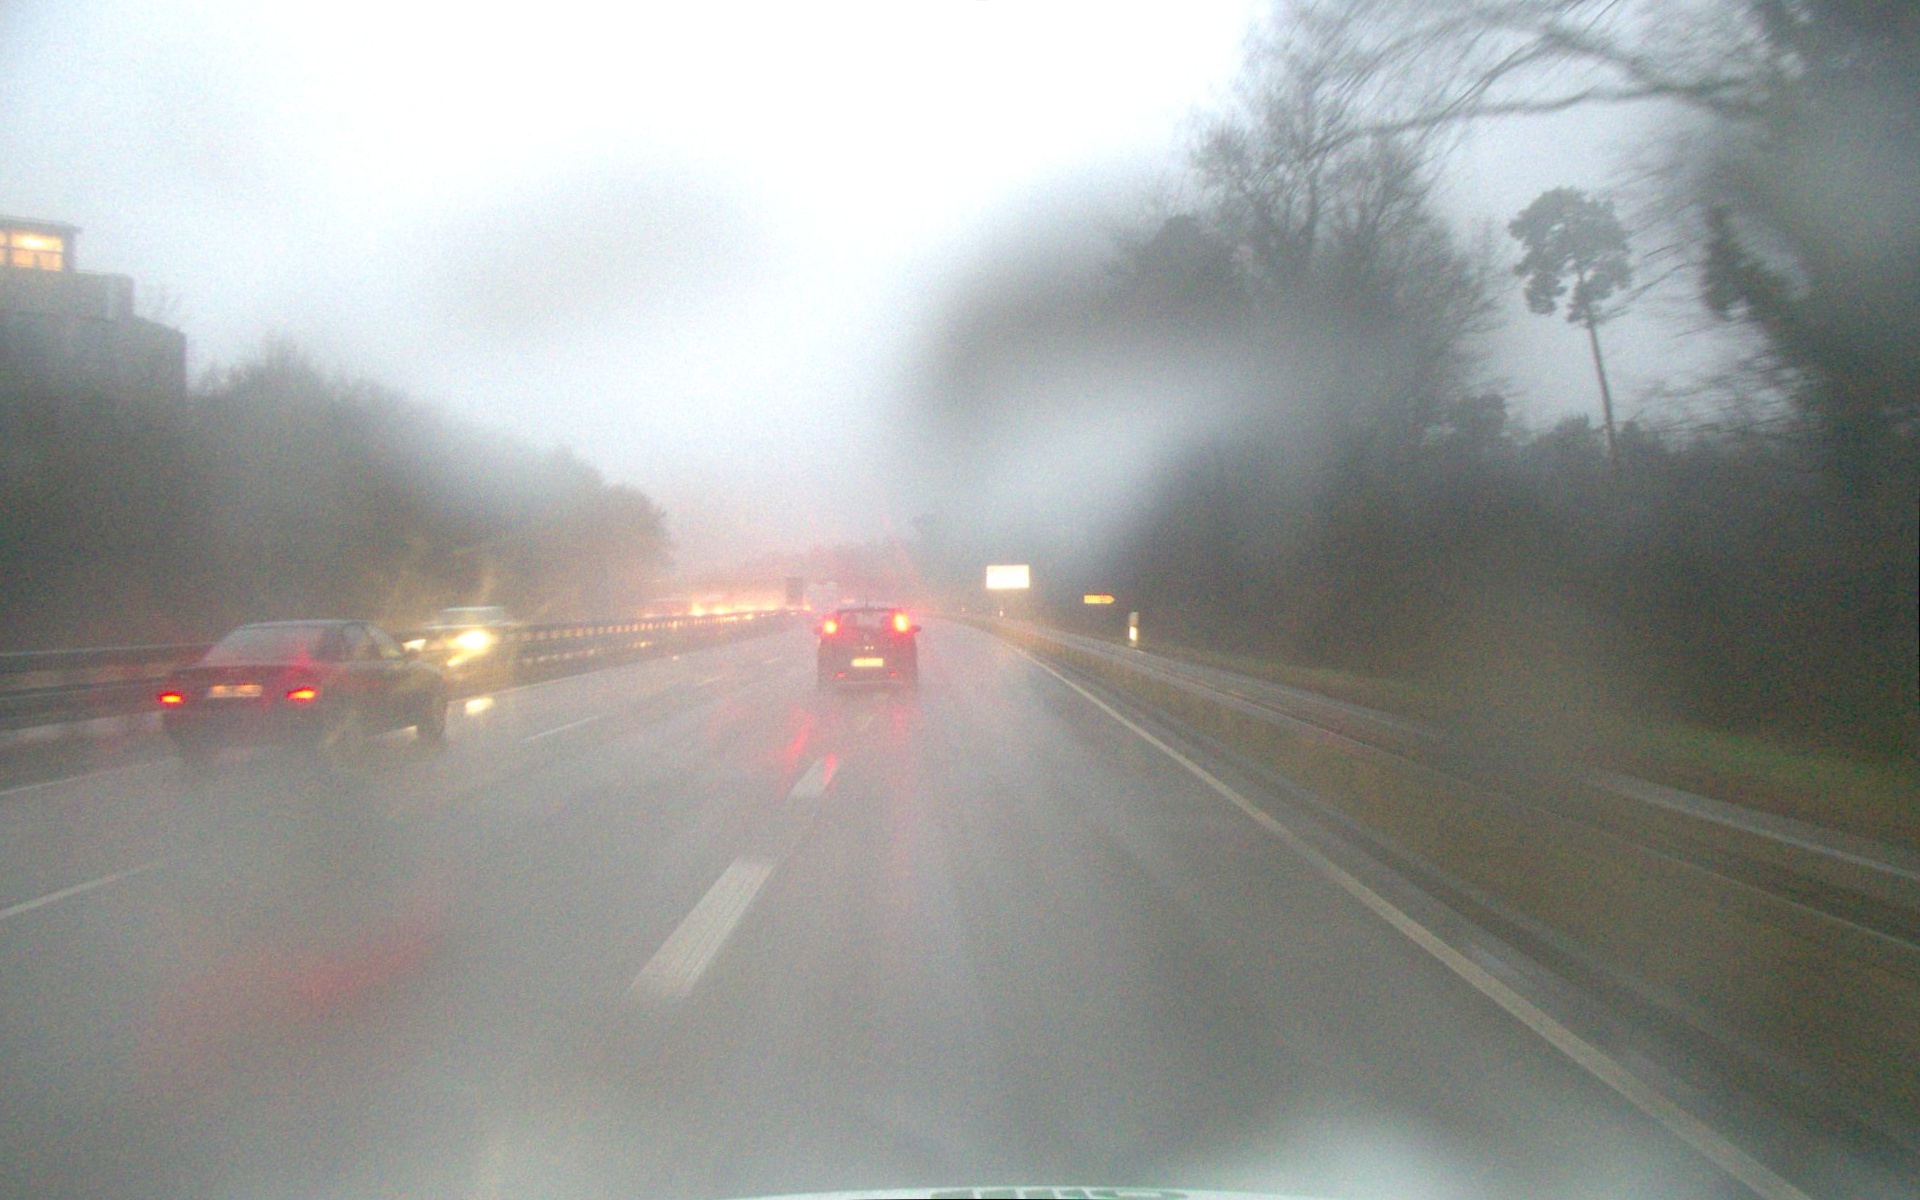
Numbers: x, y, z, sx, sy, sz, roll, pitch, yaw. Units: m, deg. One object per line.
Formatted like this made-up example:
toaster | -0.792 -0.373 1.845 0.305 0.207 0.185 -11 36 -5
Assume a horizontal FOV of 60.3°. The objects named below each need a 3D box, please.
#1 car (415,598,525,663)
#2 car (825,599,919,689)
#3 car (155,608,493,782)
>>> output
car | -13.397 0.791 45.484 1.805 1.686 4.667 -1 0 -2
car | -1.527 0.717 28.749 1.497 1.440 3.477 1 0 -3
car | -6.733 0.921 18.131 1.739 1.561 4.703 -3 0 1
